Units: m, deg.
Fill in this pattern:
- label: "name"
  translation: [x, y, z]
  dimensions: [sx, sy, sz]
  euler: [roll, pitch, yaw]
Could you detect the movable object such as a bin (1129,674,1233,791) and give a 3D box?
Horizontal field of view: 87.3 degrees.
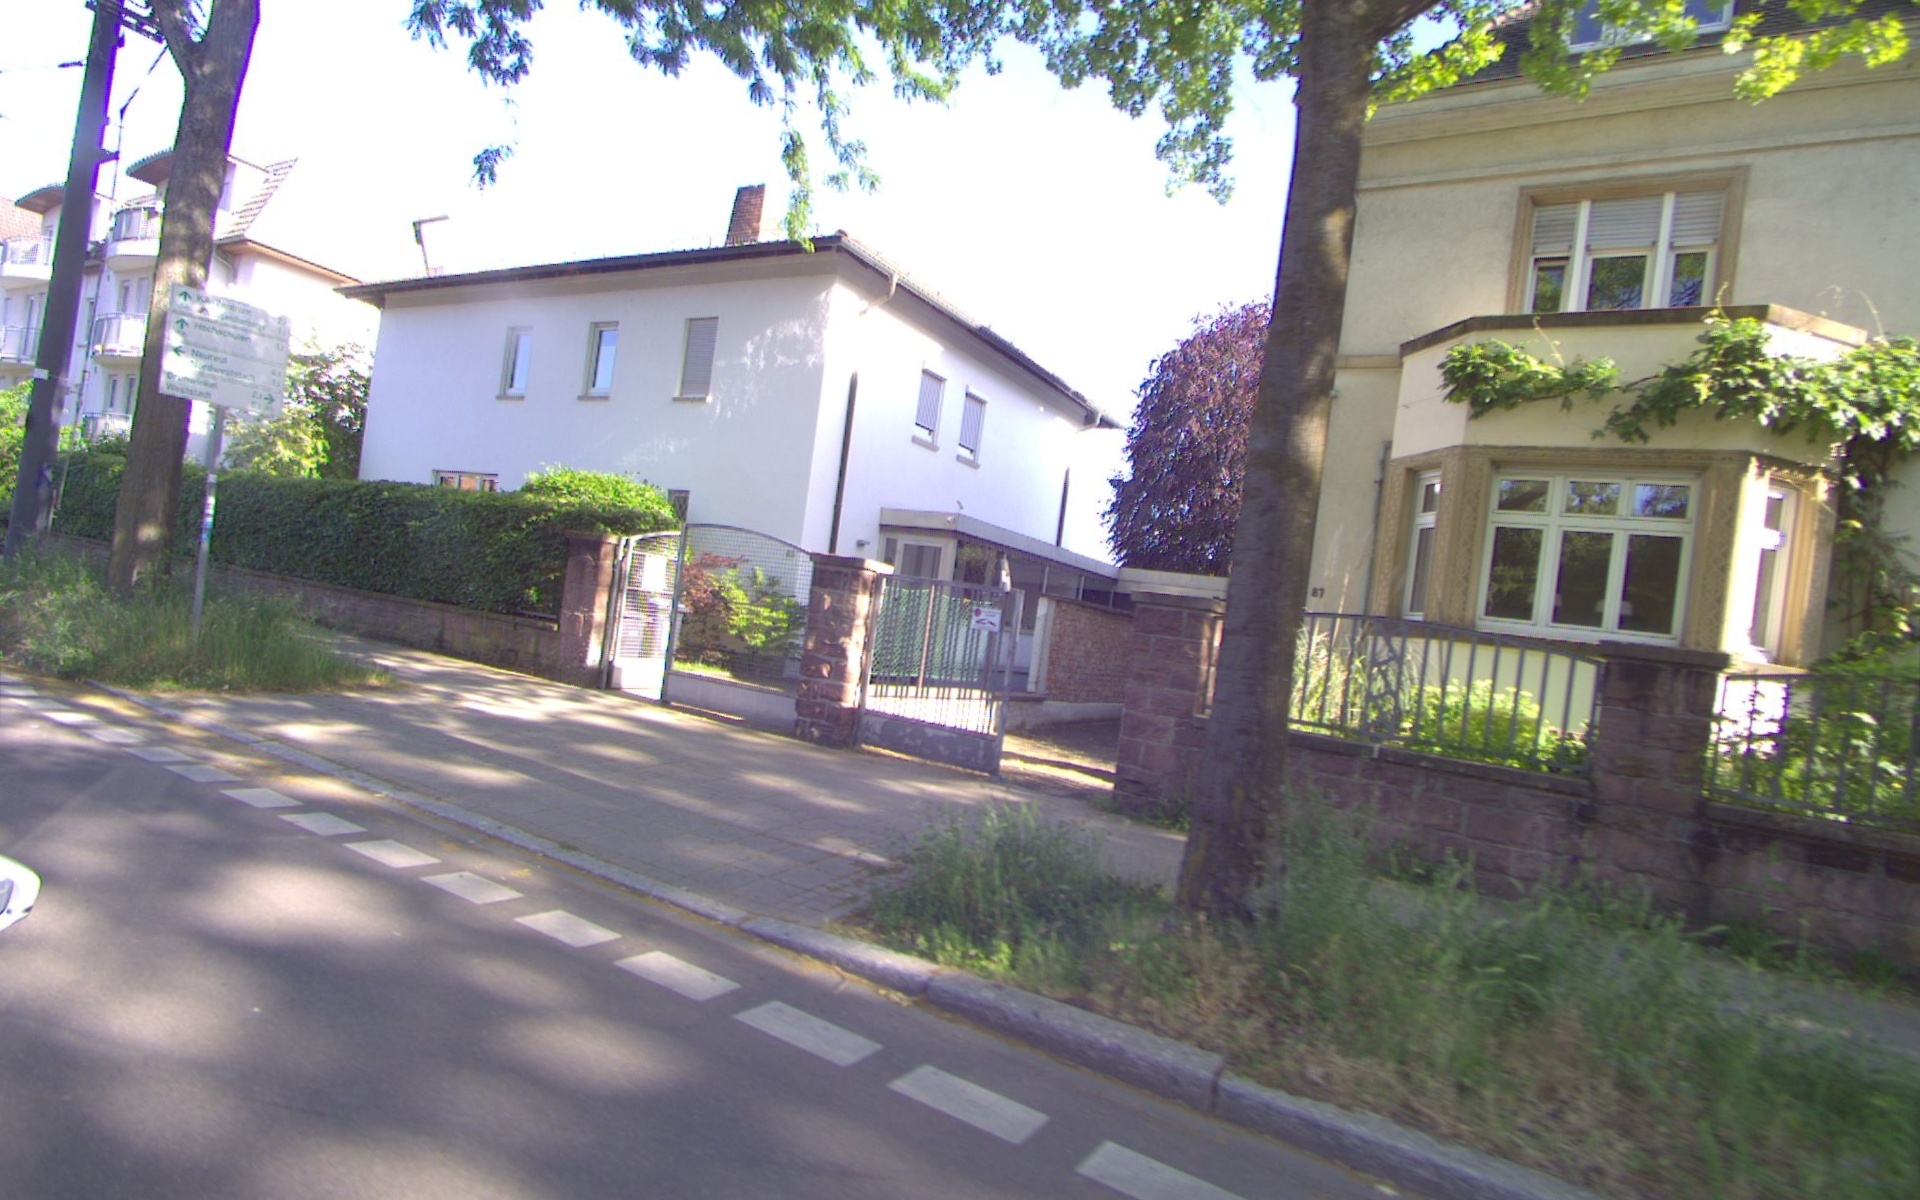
- label: "movable object such as a bin"
  translation: [2.235, 1.340, 10.199]
  dimensions: [0.652, 1.060, 0.641]
  euler: [8, -1, -37]
